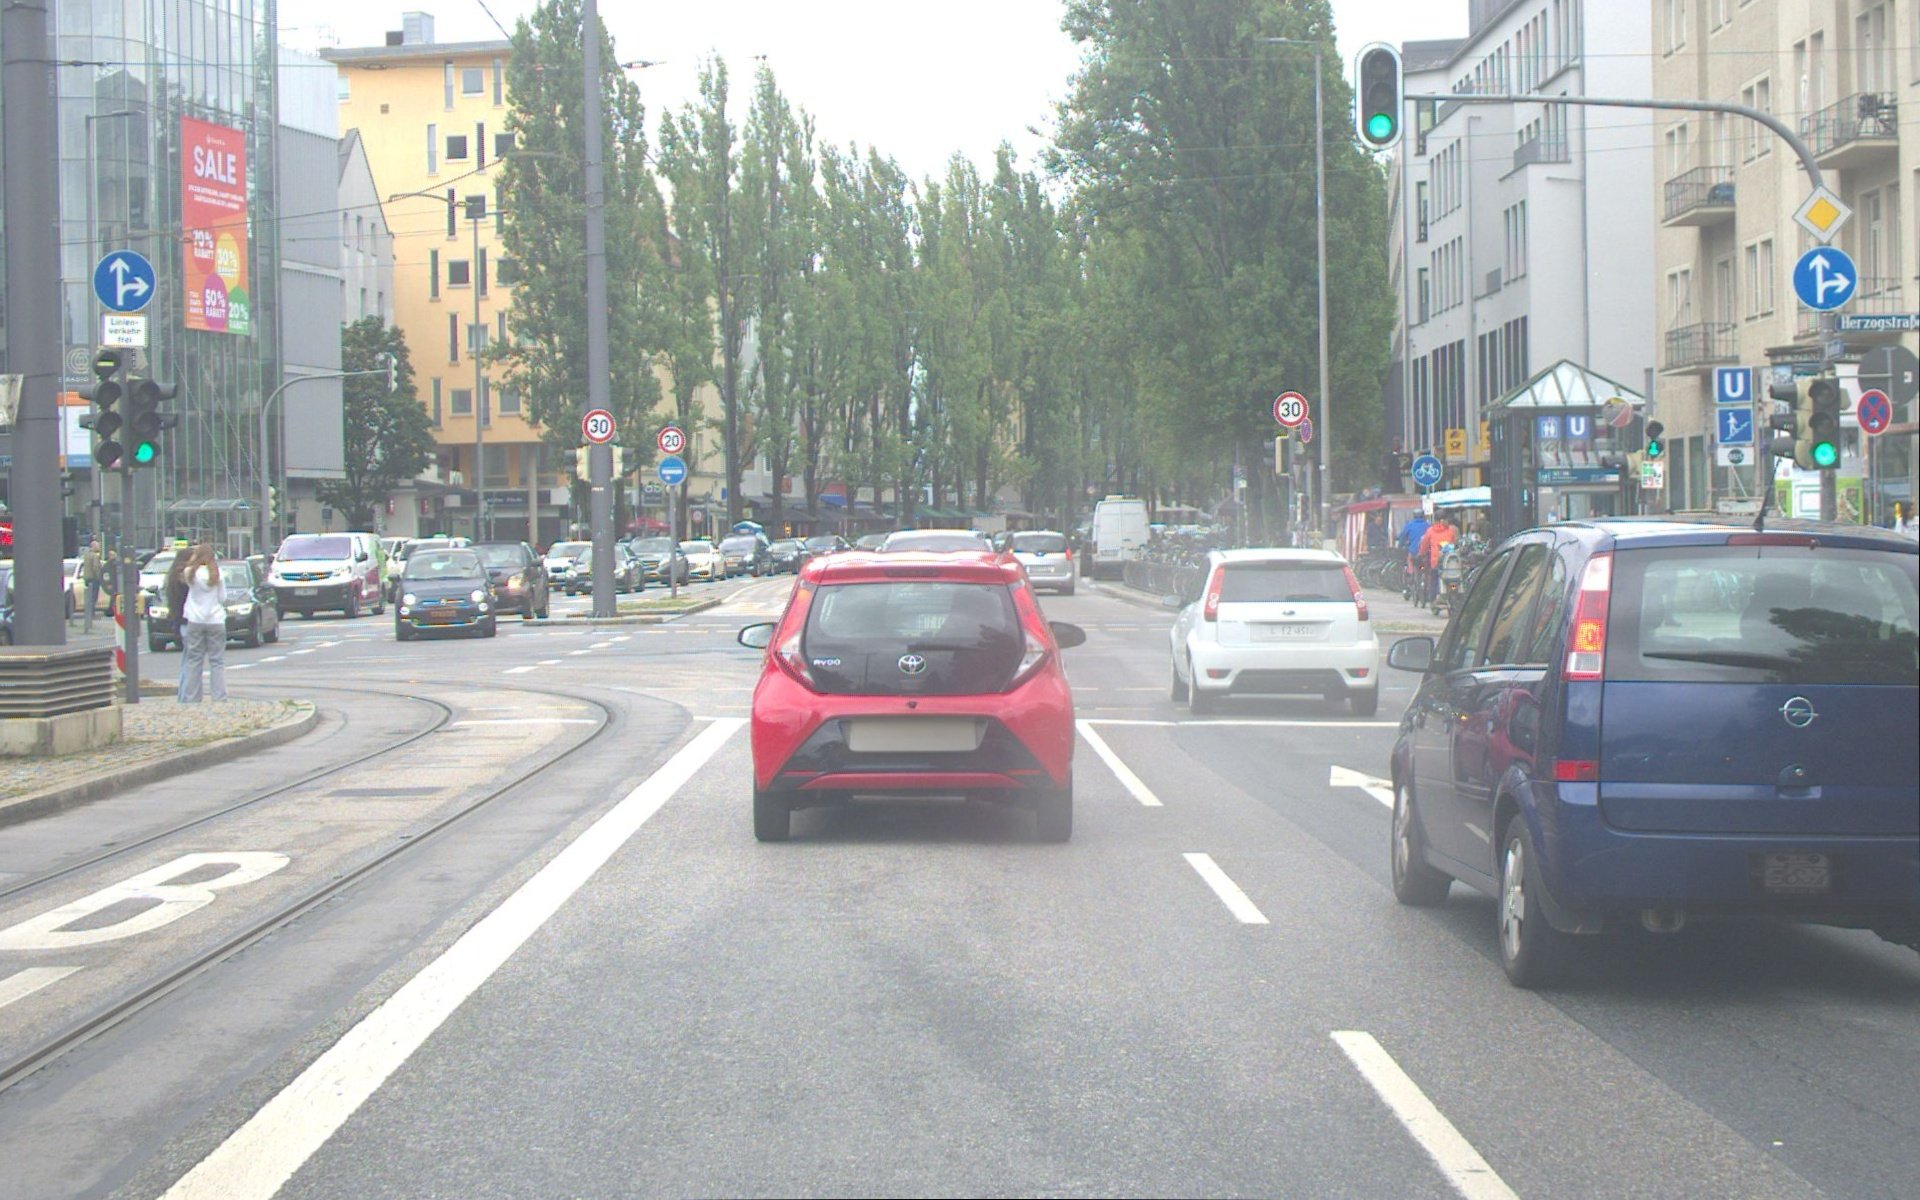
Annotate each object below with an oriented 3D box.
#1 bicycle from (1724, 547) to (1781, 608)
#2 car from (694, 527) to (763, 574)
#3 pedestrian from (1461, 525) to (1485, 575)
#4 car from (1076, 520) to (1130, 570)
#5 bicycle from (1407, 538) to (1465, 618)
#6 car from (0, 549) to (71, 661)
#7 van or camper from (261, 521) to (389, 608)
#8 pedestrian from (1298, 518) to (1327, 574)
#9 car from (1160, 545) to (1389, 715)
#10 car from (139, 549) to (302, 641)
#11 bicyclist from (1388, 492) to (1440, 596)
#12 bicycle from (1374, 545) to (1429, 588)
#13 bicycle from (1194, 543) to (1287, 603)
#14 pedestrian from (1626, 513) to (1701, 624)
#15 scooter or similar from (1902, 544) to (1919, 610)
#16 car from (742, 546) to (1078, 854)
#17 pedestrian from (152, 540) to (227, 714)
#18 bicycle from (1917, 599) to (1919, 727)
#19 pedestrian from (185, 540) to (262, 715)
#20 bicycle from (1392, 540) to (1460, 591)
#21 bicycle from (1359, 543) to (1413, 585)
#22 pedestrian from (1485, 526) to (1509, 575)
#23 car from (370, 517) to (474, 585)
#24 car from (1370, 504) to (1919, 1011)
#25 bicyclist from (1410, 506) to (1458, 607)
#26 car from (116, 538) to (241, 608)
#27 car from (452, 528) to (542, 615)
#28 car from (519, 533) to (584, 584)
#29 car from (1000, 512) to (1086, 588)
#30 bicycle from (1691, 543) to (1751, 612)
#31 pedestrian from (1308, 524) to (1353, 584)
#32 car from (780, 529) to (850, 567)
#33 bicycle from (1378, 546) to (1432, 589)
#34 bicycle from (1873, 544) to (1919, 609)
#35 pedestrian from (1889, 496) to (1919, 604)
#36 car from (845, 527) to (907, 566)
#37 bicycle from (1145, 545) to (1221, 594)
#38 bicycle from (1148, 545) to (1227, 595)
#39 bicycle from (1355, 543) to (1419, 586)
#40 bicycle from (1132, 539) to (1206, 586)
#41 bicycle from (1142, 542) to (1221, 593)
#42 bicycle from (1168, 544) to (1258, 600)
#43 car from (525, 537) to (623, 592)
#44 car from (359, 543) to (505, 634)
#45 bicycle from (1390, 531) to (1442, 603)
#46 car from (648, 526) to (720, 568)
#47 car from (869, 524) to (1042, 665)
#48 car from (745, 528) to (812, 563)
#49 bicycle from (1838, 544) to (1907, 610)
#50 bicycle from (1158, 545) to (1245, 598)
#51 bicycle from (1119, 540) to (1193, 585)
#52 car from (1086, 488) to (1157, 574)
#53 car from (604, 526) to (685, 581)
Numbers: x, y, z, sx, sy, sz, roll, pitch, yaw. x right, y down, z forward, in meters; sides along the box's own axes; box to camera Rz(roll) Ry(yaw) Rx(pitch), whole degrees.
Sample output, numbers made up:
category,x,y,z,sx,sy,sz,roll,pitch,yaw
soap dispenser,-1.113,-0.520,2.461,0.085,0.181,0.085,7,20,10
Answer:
category,x,y,z,sx,sy,sz,roll,pitch,yaw
bicycle,13.088,-0.373,56.830,0.494,0.971,1.866,-1,1,0
car,-8.789,-1.912,130.945,1.937,1.733,4.588,0,1,5
pedestrian,14.717,-1.438,98.671,0.598,1.397,0.580,-1,1,0
car,4.898,-1.901,118.281,1.703,1.657,3.556,-1,1,0
bicycle,7.899,-0.376,57.116,0.614,1.260,2.520,-1,1,1
car,-12.918,0.067,44.813,1.677,1.391,4.233,-2,1,-2
van or camper,-14.021,-0.816,76.172,1.928,1.819,5.441,-1,1,-1
pedestrian,10.829,-1.660,105.615,0.790,1.722,0.764,-1,1,0
car,2.792,0.228,31.183,1.699,1.421,3.497,-1,1,-1
car,-12.169,-0.107,56.805,1.843,1.412,4.035,-1,1,-1
bicyclist,8.292,-1.032,62.821,0.762,1.863,1.133,-1,1,1
bicycle,10.049,-0.766,78.295,1.181,0.960,0.369,-1,1,-1
bicycle,5.535,-0.535,67.920,1.803,1.154,0.547,0,2,38
pedestrian,10.851,-0.480,52.993,0.836,1.685,0.818,0,1,37
scooter or similar,15.091,-0.359,53.373,0.821,0.991,0.593,0,5,22
car,-0.220,0.460,18.197,1.605,1.456,3.130,-1,1,1
pedestrian,-7.261,0.244,32.393,0.486,1.613,0.558,-2,1,-35
bicycle,7.843,0.479,24.822,1.841,0.992,0.347,-1,1,45
pedestrian,-6.897,0.252,32.190,0.521,1.613,0.463,0,1,44
bicycle,10.128,-0.756,74.768,1.418,1.073,0.369,-1,1,1
bicycle,10.078,-0.849,81.314,1.224,0.960,0.369,-2,1,-22
pedestrian,15.405,-1.427,98.642,0.574,1.397,0.580,-1,1,0
car,-16.422,-1.473,105.211,1.994,2.007,5.522,0,0,4
car,2.610,0.474,12.762,1.703,1.584,3.556,2,1,0
bicyclist,7.890,-0.740,57.241,0.614,1.652,1.251,-1,1,1
car,-18.530,-0.666,81.704,1.901,1.537,4.393,-1,1,1
car,-8.461,-0.535,62.705,1.503,1.529,2.838,-1,1,-10
car,-13.273,-1.366,111.935,1.698,1.590,4.000,-1,1,-1
car,2.051,-1.252,85.935,1.993,1.831,4.000,-1,1,0
bicycle,12.578,-0.384,56.850,0.566,1.104,1.866,-1,1,0
pedestrian,9.517,-1.189,88.290,0.809,1.517,0.800,-2,1,-35
car,-6.143,-2.227,146.142,1.994,1.529,4.586,-1,1,10
bicycle,10.056,-0.736,77.752,1.181,0.960,0.369,-1,1,4
bicycle,15.873,-0.390,57.093,0.494,1.055,1.867,-1,1,-15
pedestrian,14.969,-0.792,54.171,0.566,1.665,0.562,0,5,22
car,-3.786,-2.442,156.458,1.994,1.686,4.920,-1,1,8
bicycle,5.074,-0.701,78.338,1.803,1.107,0.490,0,2,43
bicycle,5.133,-0.686,77.672,1.803,1.107,0.585,0,2,43
bicycle,9.947,-0.821,80.095,1.401,0.960,0.369,-1,1,-5
bicycle,5.095,-0.922,83.920,1.836,1.132,0.585,0,2,43
bicycle,5.091,-0.745,79.000,1.836,1.164,0.585,0,2,43
bicycle,5.298,-0.593,72.106,1.803,1.154,0.651,0,2,36
car,-11.203,-1.032,100.047,1.994,1.407,4.167,5,1,4
car,-8.837,-0.211,57.388,1.545,1.440,3.540,-1,1,-23
bicycle,8.302,-0.620,62.707,0.614,1.260,2.520,-1,1,1
car,-9.677,-1.869,120.788,1.765,1.417,4.639,-1,1,4
car,-0.071,-0.106,42.170,1.993,1.612,4.000,-1,1,-1
car,-7.369,-2.213,139.871,1.845,1.378,4.599,0,0,8
bicycle,15.072,-0.394,56.819,0.494,1.055,1.867,-1,1,-5
bicycle,5.213,-0.613,74.169,1.803,1.107,0.651,0,2,37
bicycle,4.997,-0.959,87.609,1.836,1.132,0.585,0,2,36
car,5.232,-2.241,112.203,2.107,2.709,4.804,-1,1,1
car,-10.146,-1.514,110.777,1.743,1.664,4.732,-1,1,5
